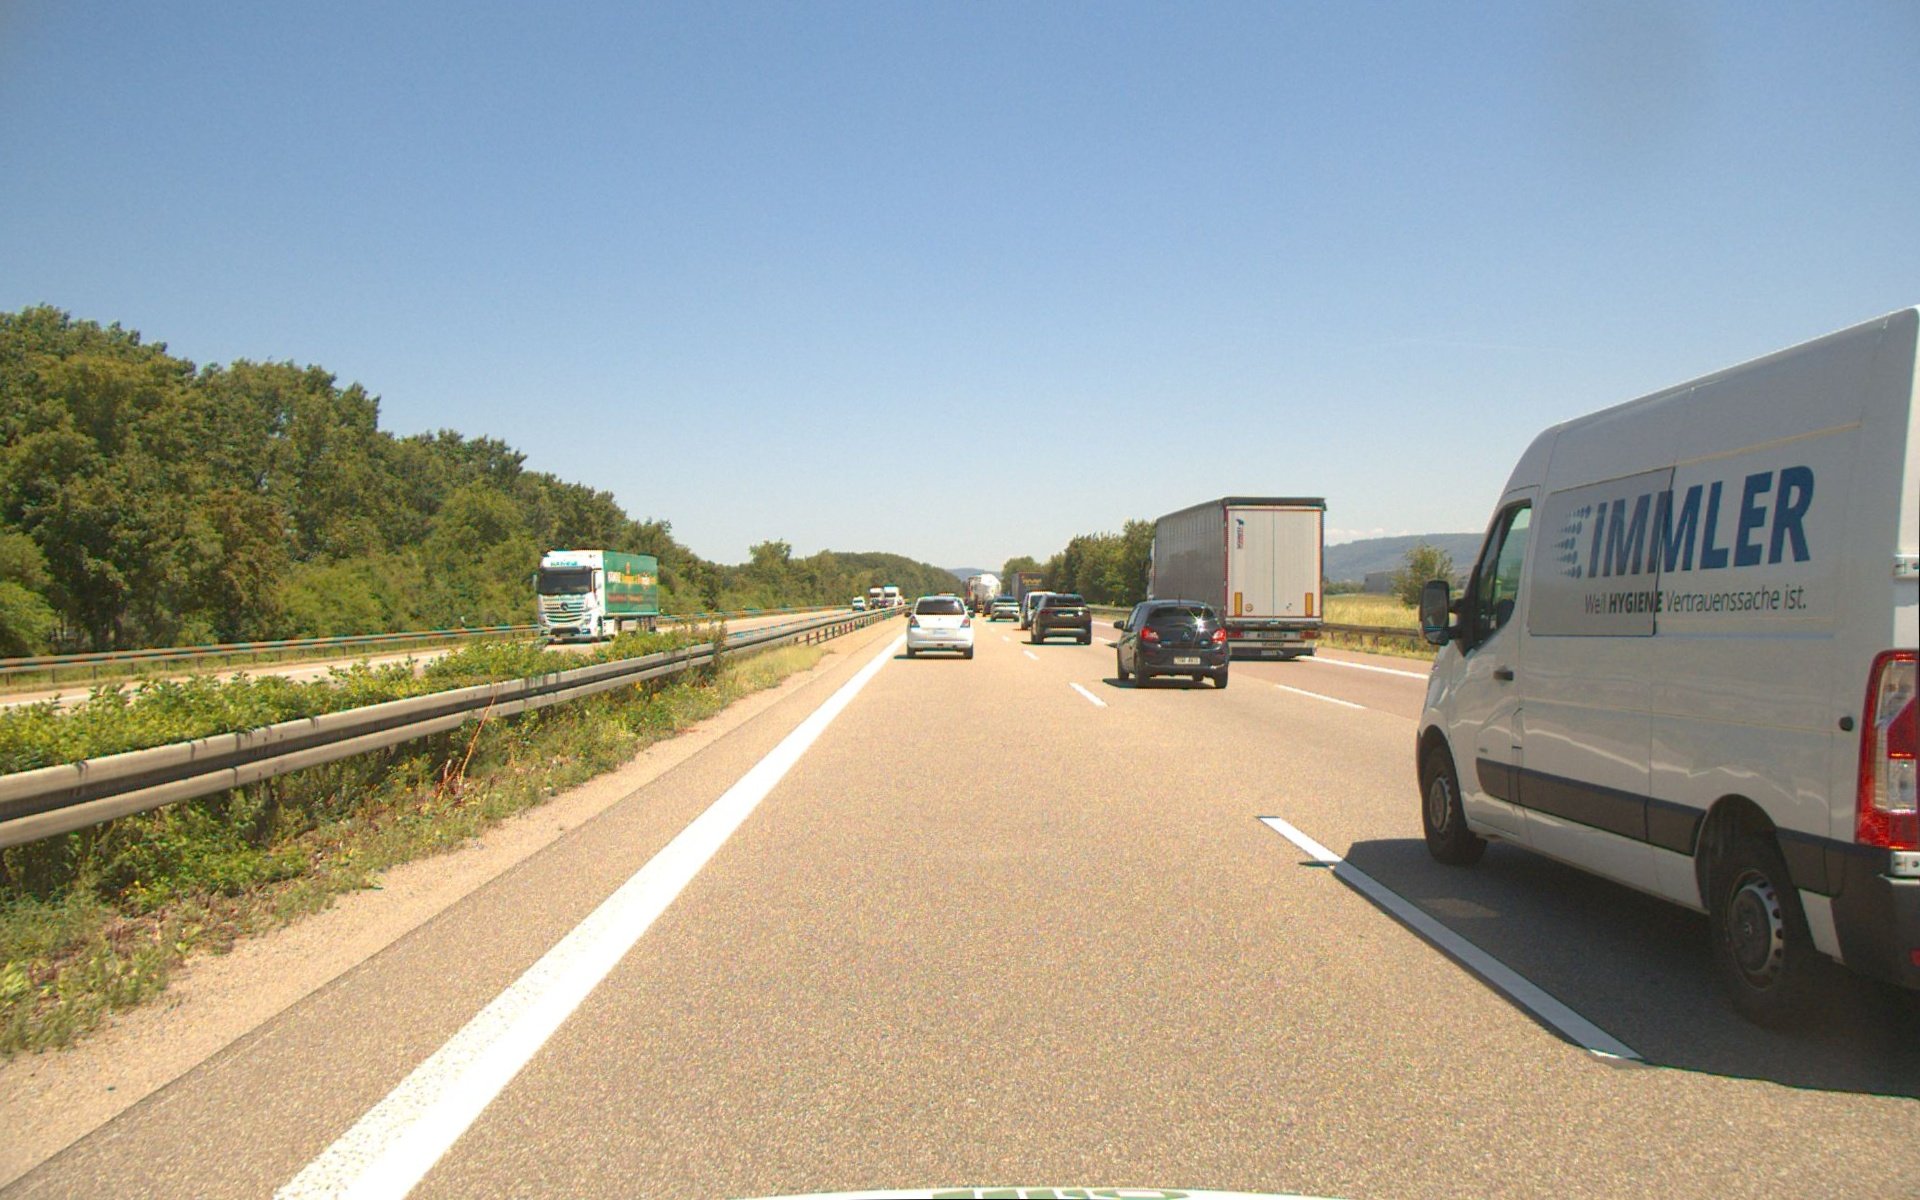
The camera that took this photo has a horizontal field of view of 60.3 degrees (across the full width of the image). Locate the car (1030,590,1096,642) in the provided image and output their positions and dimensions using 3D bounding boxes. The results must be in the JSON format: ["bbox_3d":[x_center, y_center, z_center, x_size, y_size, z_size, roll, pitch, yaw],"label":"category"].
[{"bbox_3d":[3.451,0.529,55.849,1.820,1.681,3.998,1,0,-2],"label":"car"}]

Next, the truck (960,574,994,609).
[{"bbox_3d":[2.067,-1.107,213.839,3.193,4.282,16.832,1,0,-3],"label":"truck"}]

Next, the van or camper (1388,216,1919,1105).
[{"bbox_3d":[3.850,0.179,7.819,2.016,2.668,5.984,0,0,-1],"label":"van or camper"}]

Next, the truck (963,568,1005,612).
[{"bbox_3d":[2.434,-1.041,174.141,3.193,4.282,16.832,1,0,-3],"label":"truck"}]

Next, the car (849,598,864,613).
[{"bbox_3d":[-14.548,0.719,233.074,1.953,2.049,3.999,-2,0,-2],"label":"car"}]

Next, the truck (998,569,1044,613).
[{"bbox_3d":[6.328,-0.939,174.539,3.193,4.282,16.832,1,0,-3],"label":"truck"}]

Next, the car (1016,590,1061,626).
[{"bbox_3d":[3.766,0.353,79.936,1.820,1.681,3.998,1,0,-2],"label":"car"}]

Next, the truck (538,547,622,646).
[{"bbox_3d":[-16.786,-0.169,73.389,2.367,4.165,5.880,1,0,-1],"label":"truck"}]

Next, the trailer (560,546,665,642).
[{"bbox_3d":[-16.914,-0.293,81.530,2.396,4.303,13.634,1,0,-1],"label":"trailer"}]

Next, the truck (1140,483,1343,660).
[{"bbox_3d":[7.870,-0.721,49.227,3.016,4.282,16.841,1,0,0],"label":"truck"}]

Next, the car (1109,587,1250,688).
[{"bbox_3d":[3.846,0.621,29.597,1.820,1.681,3.998,1,0,-2],"label":"car"}]

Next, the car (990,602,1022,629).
[{"bbox_3d":[3.003,1.018,108.825,1.820,1.681,3.998,1,0,-2],"label":"car"}]

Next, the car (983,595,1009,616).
[{"bbox_3d":[2.946,0.443,136.130,1.820,1.681,3.998,1,0,-2],"label":"car"}]

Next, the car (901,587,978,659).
[{"bbox_3d":[-0.563,0.556,42.069,1.820,1.681,3.998,1,0,-2],"label":"car"}]
